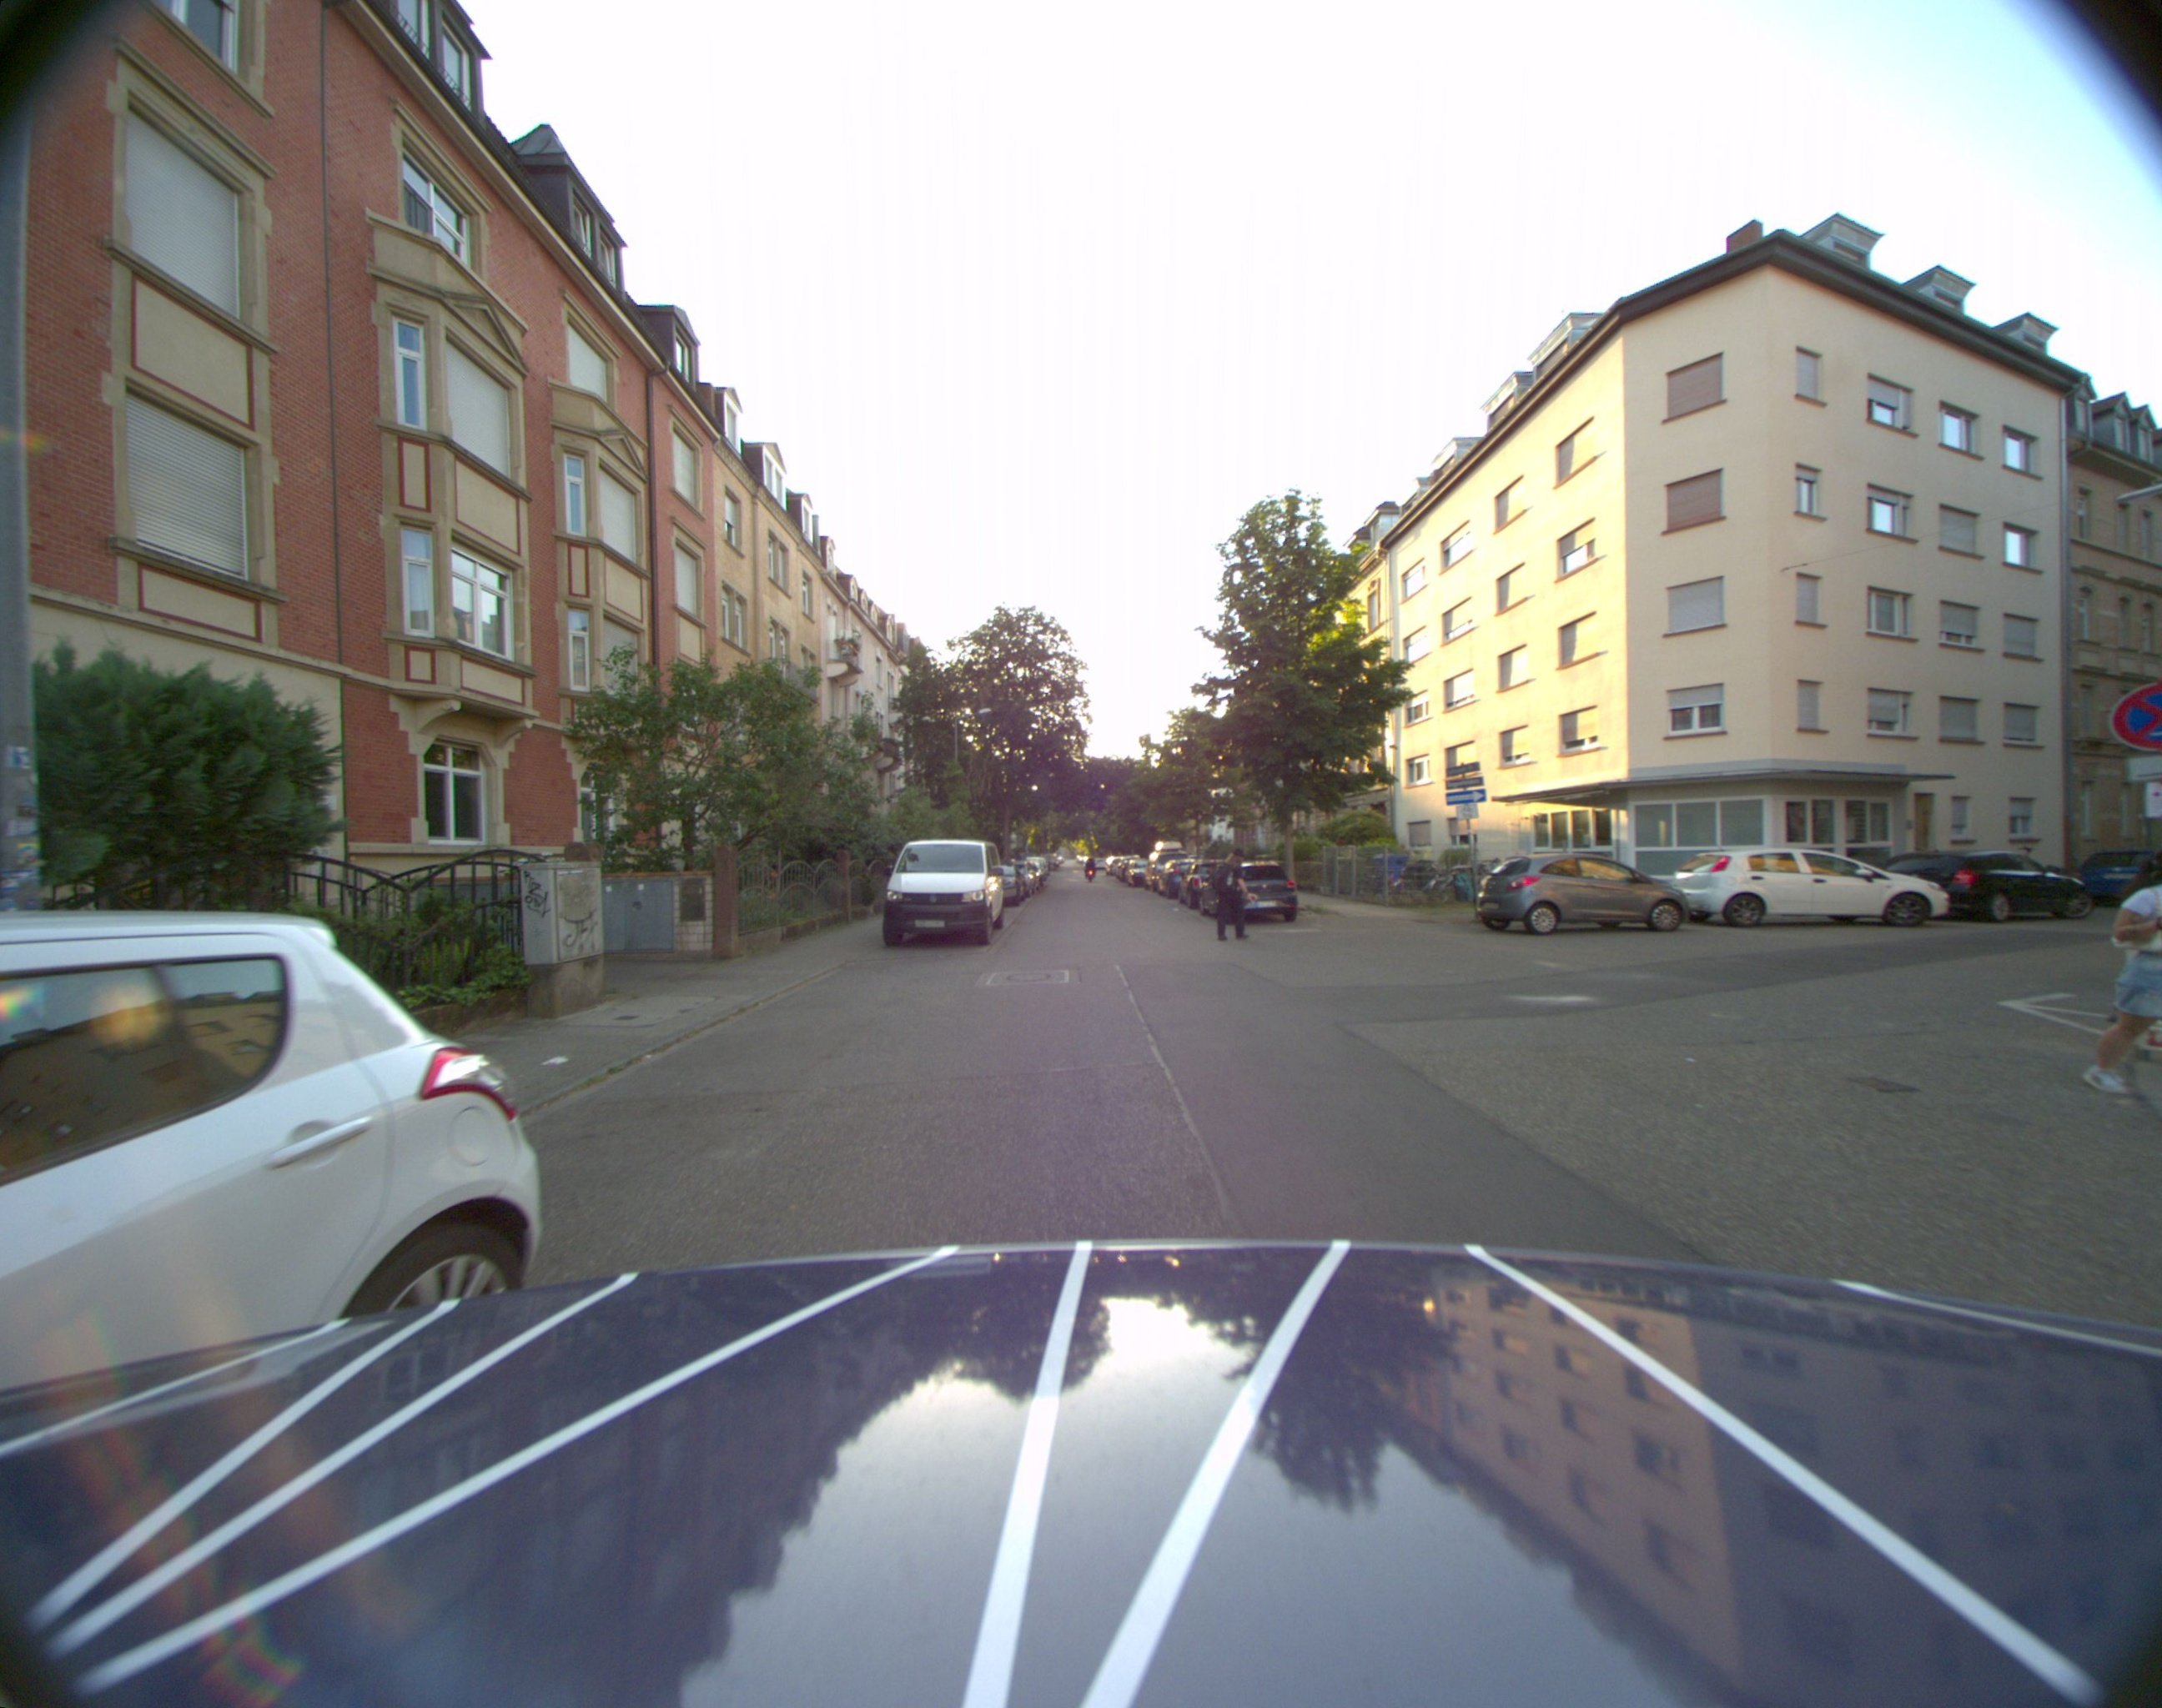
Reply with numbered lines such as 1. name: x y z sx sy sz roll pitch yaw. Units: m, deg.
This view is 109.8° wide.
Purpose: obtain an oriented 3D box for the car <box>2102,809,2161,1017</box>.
1. car: 12.919 0.496 7.533 5.300 1.963 2.204 -1 0 -24

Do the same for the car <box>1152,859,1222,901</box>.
1. car: 3.998 0.941 29.330 1.866 1.404 4.589 -2 0 -2

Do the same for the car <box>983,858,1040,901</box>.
1. car: -2.850 0.998 32.077 1.761 1.573 4.842 -3 0 1

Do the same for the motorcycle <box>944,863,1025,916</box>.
1. motorcycle: -2.878 1.030 22.700 2.099 1.474 1.130 0 1 -34

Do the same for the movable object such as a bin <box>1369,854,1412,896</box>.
1. movable object such as a bin: 10.501 0.710 25.836 0.868 1.344 1.398 -3 1 1

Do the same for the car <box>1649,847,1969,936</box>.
1. car: 13.958 0.700 14.867 4.066 1.500 1.975 -3 0 11

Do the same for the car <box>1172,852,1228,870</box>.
1. car: 10.006 0.568 63.893 4.413 1.333 1.625 -2 0 0

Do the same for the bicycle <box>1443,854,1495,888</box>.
1. bicycle: 13.272 0.579 25.998 1.548 1.086 0.500 -3 1 -7

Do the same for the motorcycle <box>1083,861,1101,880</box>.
1. motorcycle: 0.743 1.107 50.562 0.848 1.202 2.076 2 1 9

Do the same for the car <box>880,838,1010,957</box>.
1. car: -2.599 0.746 15.809 1.866 2.027 5.543 0 0 -2

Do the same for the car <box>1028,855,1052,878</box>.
1. car: -3.208 0.941 59.671 1.737 1.692 4.167 -2 0 -3

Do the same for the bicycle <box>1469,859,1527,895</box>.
1. bicycle: 13.540 0.735 24.699 1.635 1.086 0.500 -3 1 -7

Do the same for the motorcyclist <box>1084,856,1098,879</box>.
1. motorcyclist: 0.647 0.882 49.983 0.789 1.531 0.546 2 1 9

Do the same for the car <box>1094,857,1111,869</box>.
1. car: 2.773 1.131 100.017 1.953 1.484 3.737 -2 0 -1

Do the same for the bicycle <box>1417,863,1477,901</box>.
1. bicycle: 11.058 0.850 23.007 0.502 1.086 1.545 -3 1 -38

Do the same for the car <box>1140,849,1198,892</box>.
1. car: 3.900 0.689 34.333 1.866 1.769 4.622 -2 0 -2

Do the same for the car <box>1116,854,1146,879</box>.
1. car: 3.548 0.876 54.790 1.866 1.653 4.021 -2 0 0

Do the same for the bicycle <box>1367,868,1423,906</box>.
1. bicycle: 9.489 0.976 23.068 0.689 1.019 1.931 -3 0 -6

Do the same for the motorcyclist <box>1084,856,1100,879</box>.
1. motorcyclist: 0.761 0.872 50.748 0.891 1.496 0.970 2 1 9

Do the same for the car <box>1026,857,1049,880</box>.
1. car: -3.059 1.021 54.052 1.502 1.538 3.338 -2 0 -3

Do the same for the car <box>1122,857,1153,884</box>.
1. car: 3.346 0.971 45.287 1.441 1.485 3.297 -2 0 -3

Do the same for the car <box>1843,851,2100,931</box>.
1. car: 18.324 0.697 15.677 4.082 1.430 1.996 -1 0 -17

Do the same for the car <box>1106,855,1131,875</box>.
1. car: 3.263 0.909 66.344 1.678 1.627 3.939 -2 0 -4

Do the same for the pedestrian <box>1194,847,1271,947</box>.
1. pedestrian: 2.762 0.753 13.851 0.960 1.712 0.889 -3 1 -38

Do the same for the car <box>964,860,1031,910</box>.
1. car: -2.848 1.019 26.823 1.724 1.542 4.325 -2 0 1

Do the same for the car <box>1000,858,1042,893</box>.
1. car: -2.823 1.006 36.575 1.590 1.516 3.602 -3 0 1

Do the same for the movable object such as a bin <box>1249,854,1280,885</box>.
1. movable object such as a bin: 8.651 0.719 35.930 0.948 1.379 1.551 -3 0 -4

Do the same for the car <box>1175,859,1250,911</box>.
1. car: 4.076 0.930 24.175 1.746 1.412 4.142 -2 0 1

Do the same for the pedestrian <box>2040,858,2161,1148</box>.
1. pedestrian: 6.475 0.847 4.439 0.711 1.609 0.787 -3 1 7

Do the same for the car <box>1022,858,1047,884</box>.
1. car: -3.019 1.081 49.655 1.479 1.498 3.928 -2 0 -3

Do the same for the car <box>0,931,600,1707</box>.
1. car: -2.506 1.021 0.582 1.678 1.468 3.862 -2 0 2

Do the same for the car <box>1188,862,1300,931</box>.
1. car: 3.989 0.974 19.348 1.679 1.453 4.462 -2 0 -3

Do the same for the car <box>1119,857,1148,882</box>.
1. car: 3.387 0.970 49.697 1.682 1.490 3.625 -2 0 1

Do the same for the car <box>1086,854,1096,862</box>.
1. car: 1.906 0.708 149.614 1.841 1.484 3.641 -2 0 -1

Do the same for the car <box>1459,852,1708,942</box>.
1. car: 9.439 0.782 14.496 3.516 1.499 1.845 -2 0 -2

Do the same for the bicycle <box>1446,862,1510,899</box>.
1. bicycle: 12.120 0.805 23.225 0.386 1.086 1.707 -3 1 -37

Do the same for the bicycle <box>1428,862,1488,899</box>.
1. bicycle: 11.514 0.801 23.265 0.502 1.086 1.545 -3 1 -38

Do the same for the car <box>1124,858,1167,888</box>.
1. car: 3.381 0.958 40.571 1.733 1.433 4.023 -2 0 -3

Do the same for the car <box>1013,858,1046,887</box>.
1. car: -2.964 1.042 44.437 1.737 1.498 4.162 -2 0 -3
